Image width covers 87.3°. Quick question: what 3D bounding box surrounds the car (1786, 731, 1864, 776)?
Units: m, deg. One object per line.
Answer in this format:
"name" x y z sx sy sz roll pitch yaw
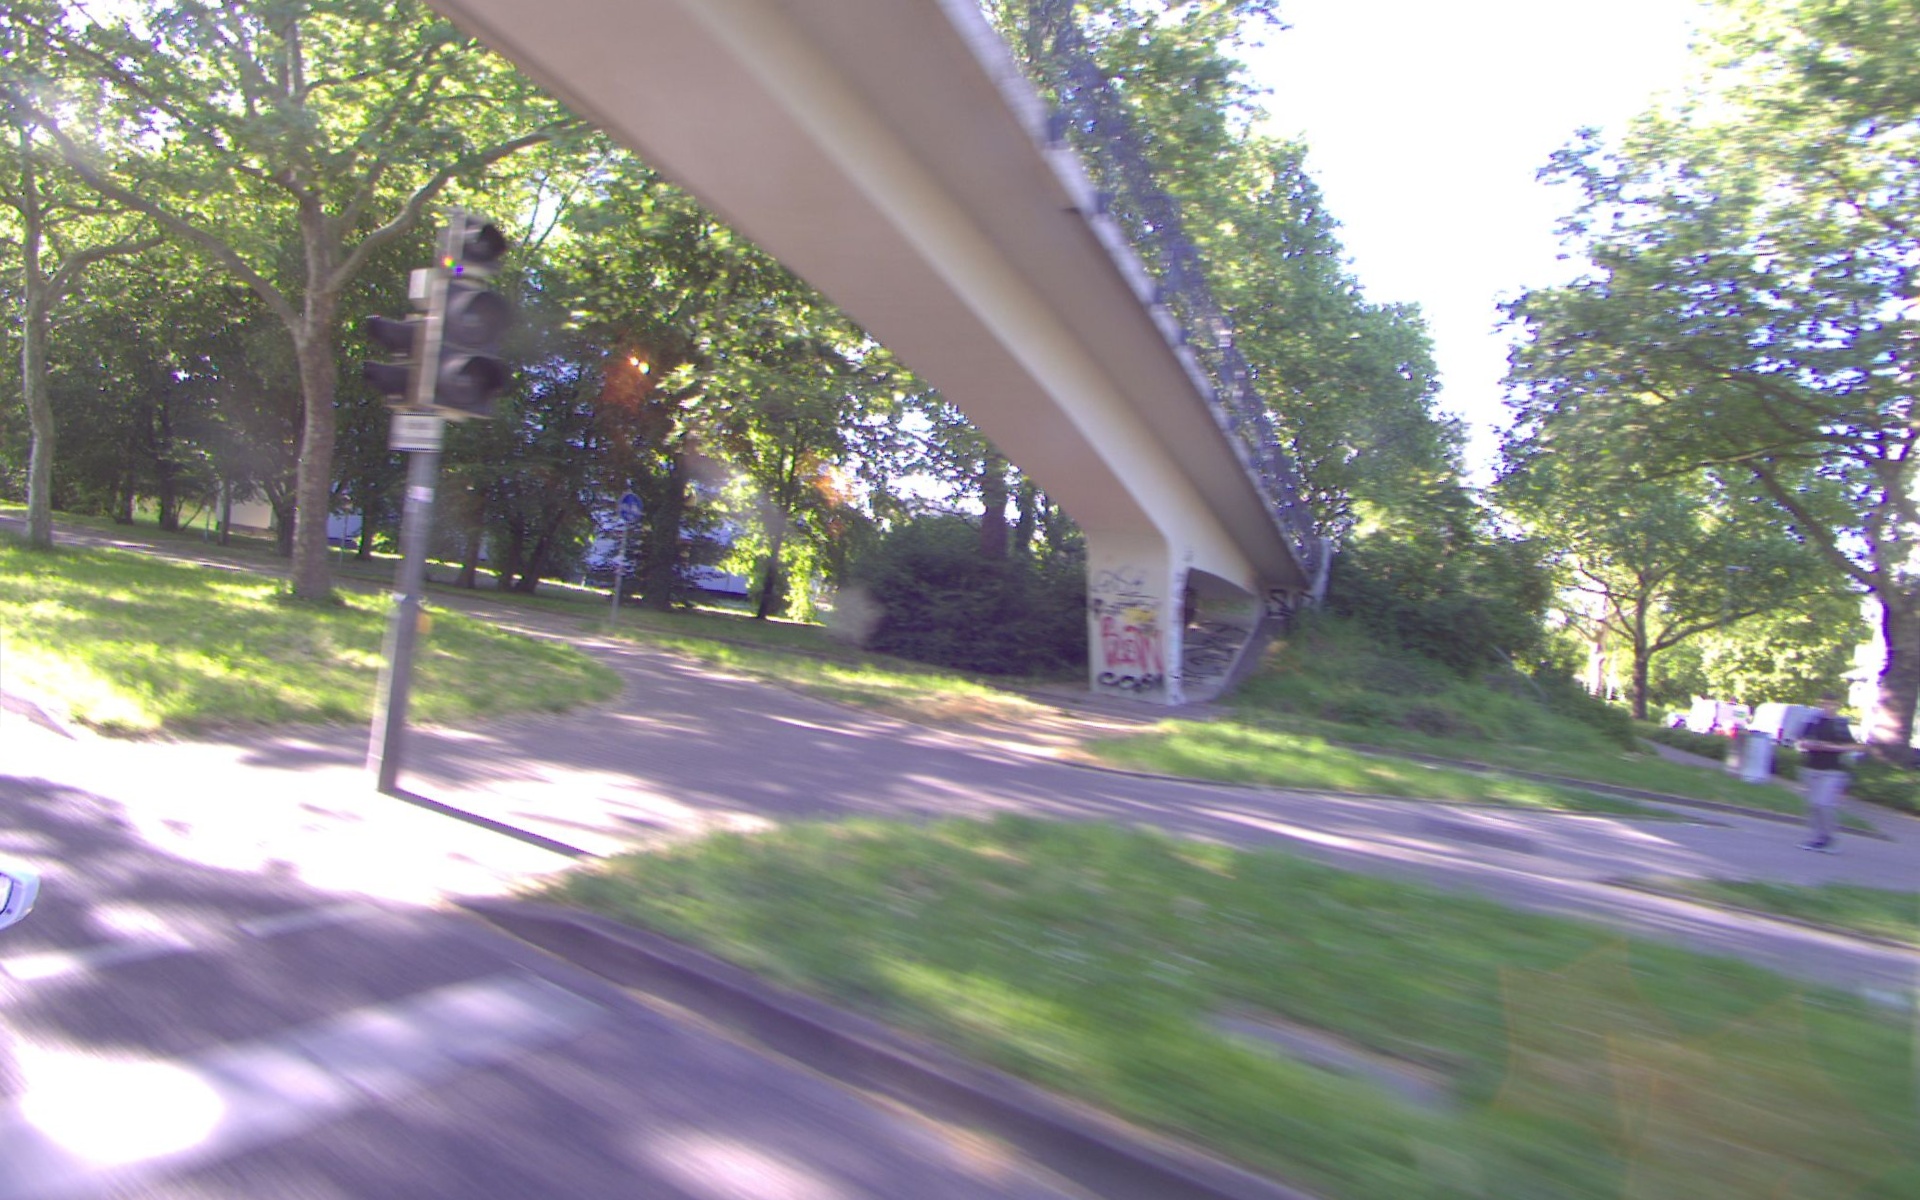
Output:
"car" 39.736 7.016 46.305 1.638 1.513 3.590 10 0 26

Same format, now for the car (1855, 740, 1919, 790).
"car" 35.711 6.304 38.004 1.638 1.513 3.590 10 0 25

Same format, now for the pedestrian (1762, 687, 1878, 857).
"pedestrian" 9.947 1.971 11.644 0.655 1.799 0.731 7 1 -41

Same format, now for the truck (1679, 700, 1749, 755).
"truck" 48.833 8.199 65.275 1.880 3.014 5.187 10 0 21

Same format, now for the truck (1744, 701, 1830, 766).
"truck" 42.622 6.822 51.983 1.881 2.851 5.184 10 0 26

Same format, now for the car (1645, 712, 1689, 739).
"car" 52.564 9.316 74.820 1.637 1.513 3.592 10 0 21

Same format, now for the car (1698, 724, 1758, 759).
"car" 44.916 8.251 58.932 1.637 1.513 3.592 10 0 21
